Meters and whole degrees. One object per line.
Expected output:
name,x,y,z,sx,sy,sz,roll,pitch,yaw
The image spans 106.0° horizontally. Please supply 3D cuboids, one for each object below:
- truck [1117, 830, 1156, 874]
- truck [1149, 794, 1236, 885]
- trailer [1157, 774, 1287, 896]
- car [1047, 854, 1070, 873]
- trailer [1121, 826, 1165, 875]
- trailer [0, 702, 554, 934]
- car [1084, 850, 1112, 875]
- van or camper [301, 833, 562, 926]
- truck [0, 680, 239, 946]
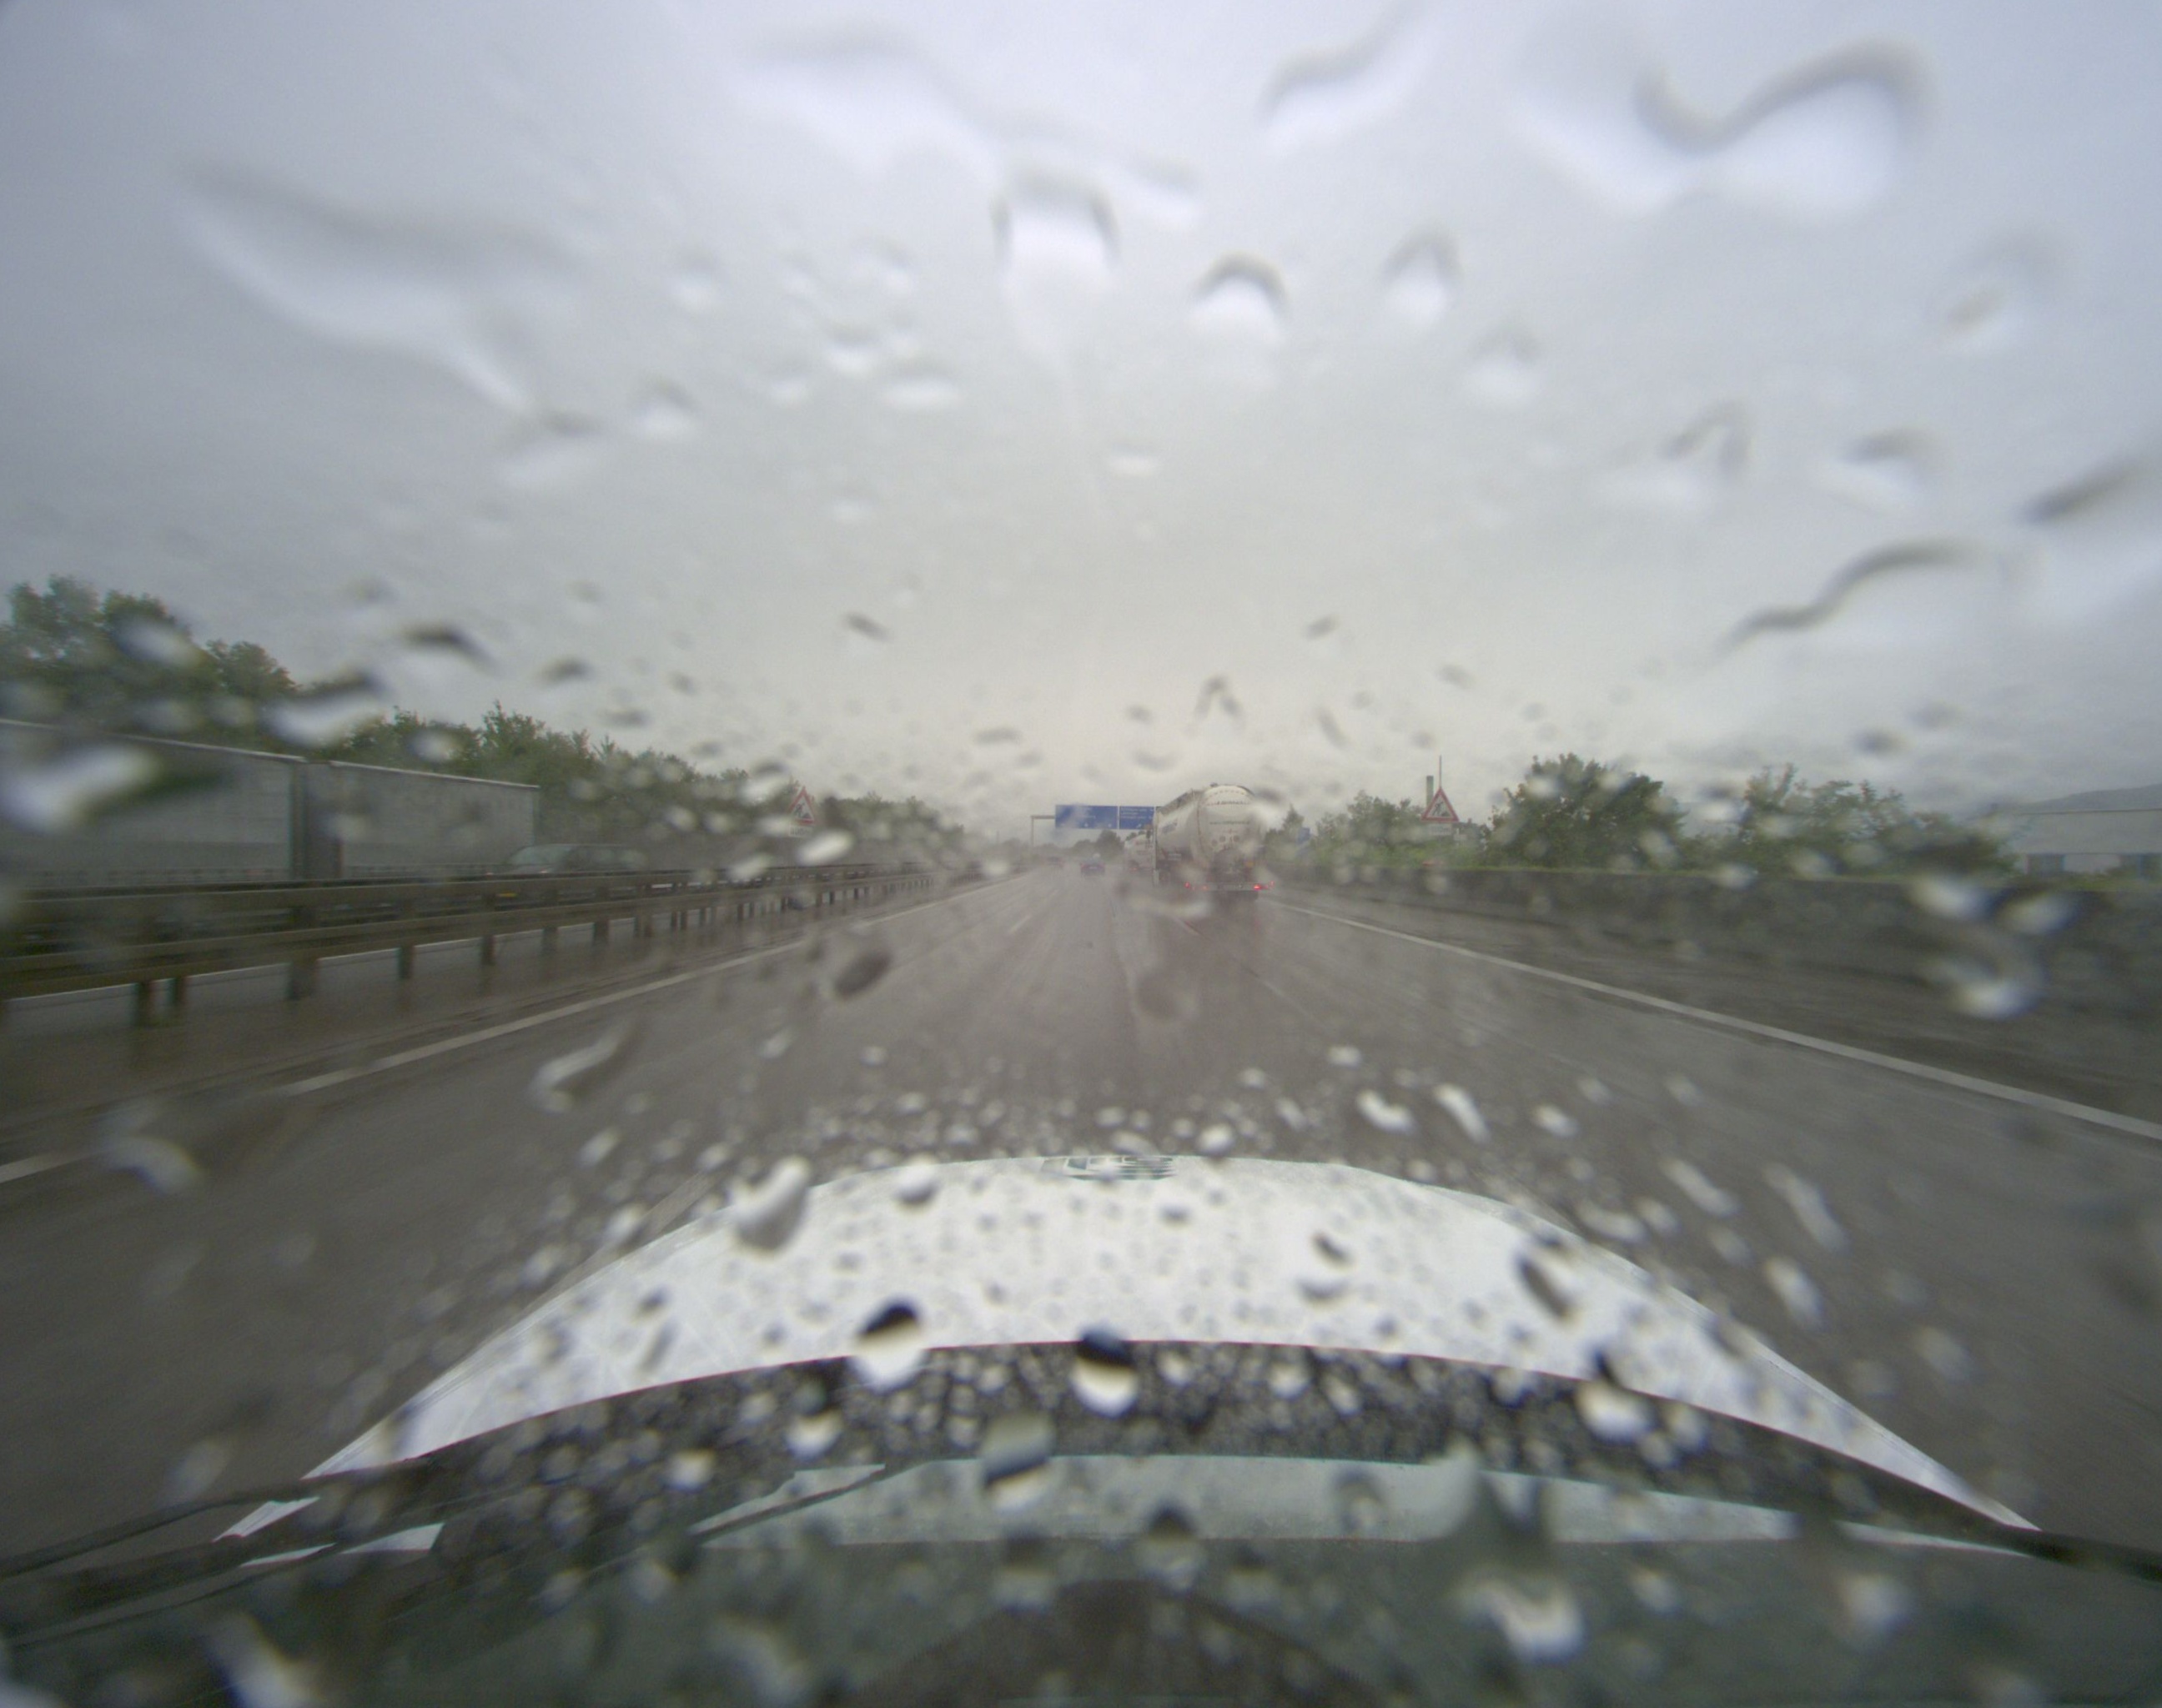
truck,4.916,-0.168,73.046,2.935,3.684,6.359,0,0,-1
truck,4.940,-0.602,37.397,3.094,3.806,7.213,0,0,1
trailer,4.786,-0.566,30.284,3.176,3.670,11.671,0,0,2
car,-2.125,0.871,78.012,1.918,1.741,4.405,0,0,2
trailer,5.051,-0.268,67.967,2.995,3.848,8.621,0,0,0
trailer,-20.659,-0.737,22.701,3.856,4.695,12.243,0,0,0
car,1.275,0.637,60.312,1.971,1.756,4.482,-1,0,1
van or camper,-16.077,0.571,20.730,1.986,2.014,5.673,0,0,1
truck,-20.758,-0.710,13.425,3.823,4.639,9.492,0,0,0
